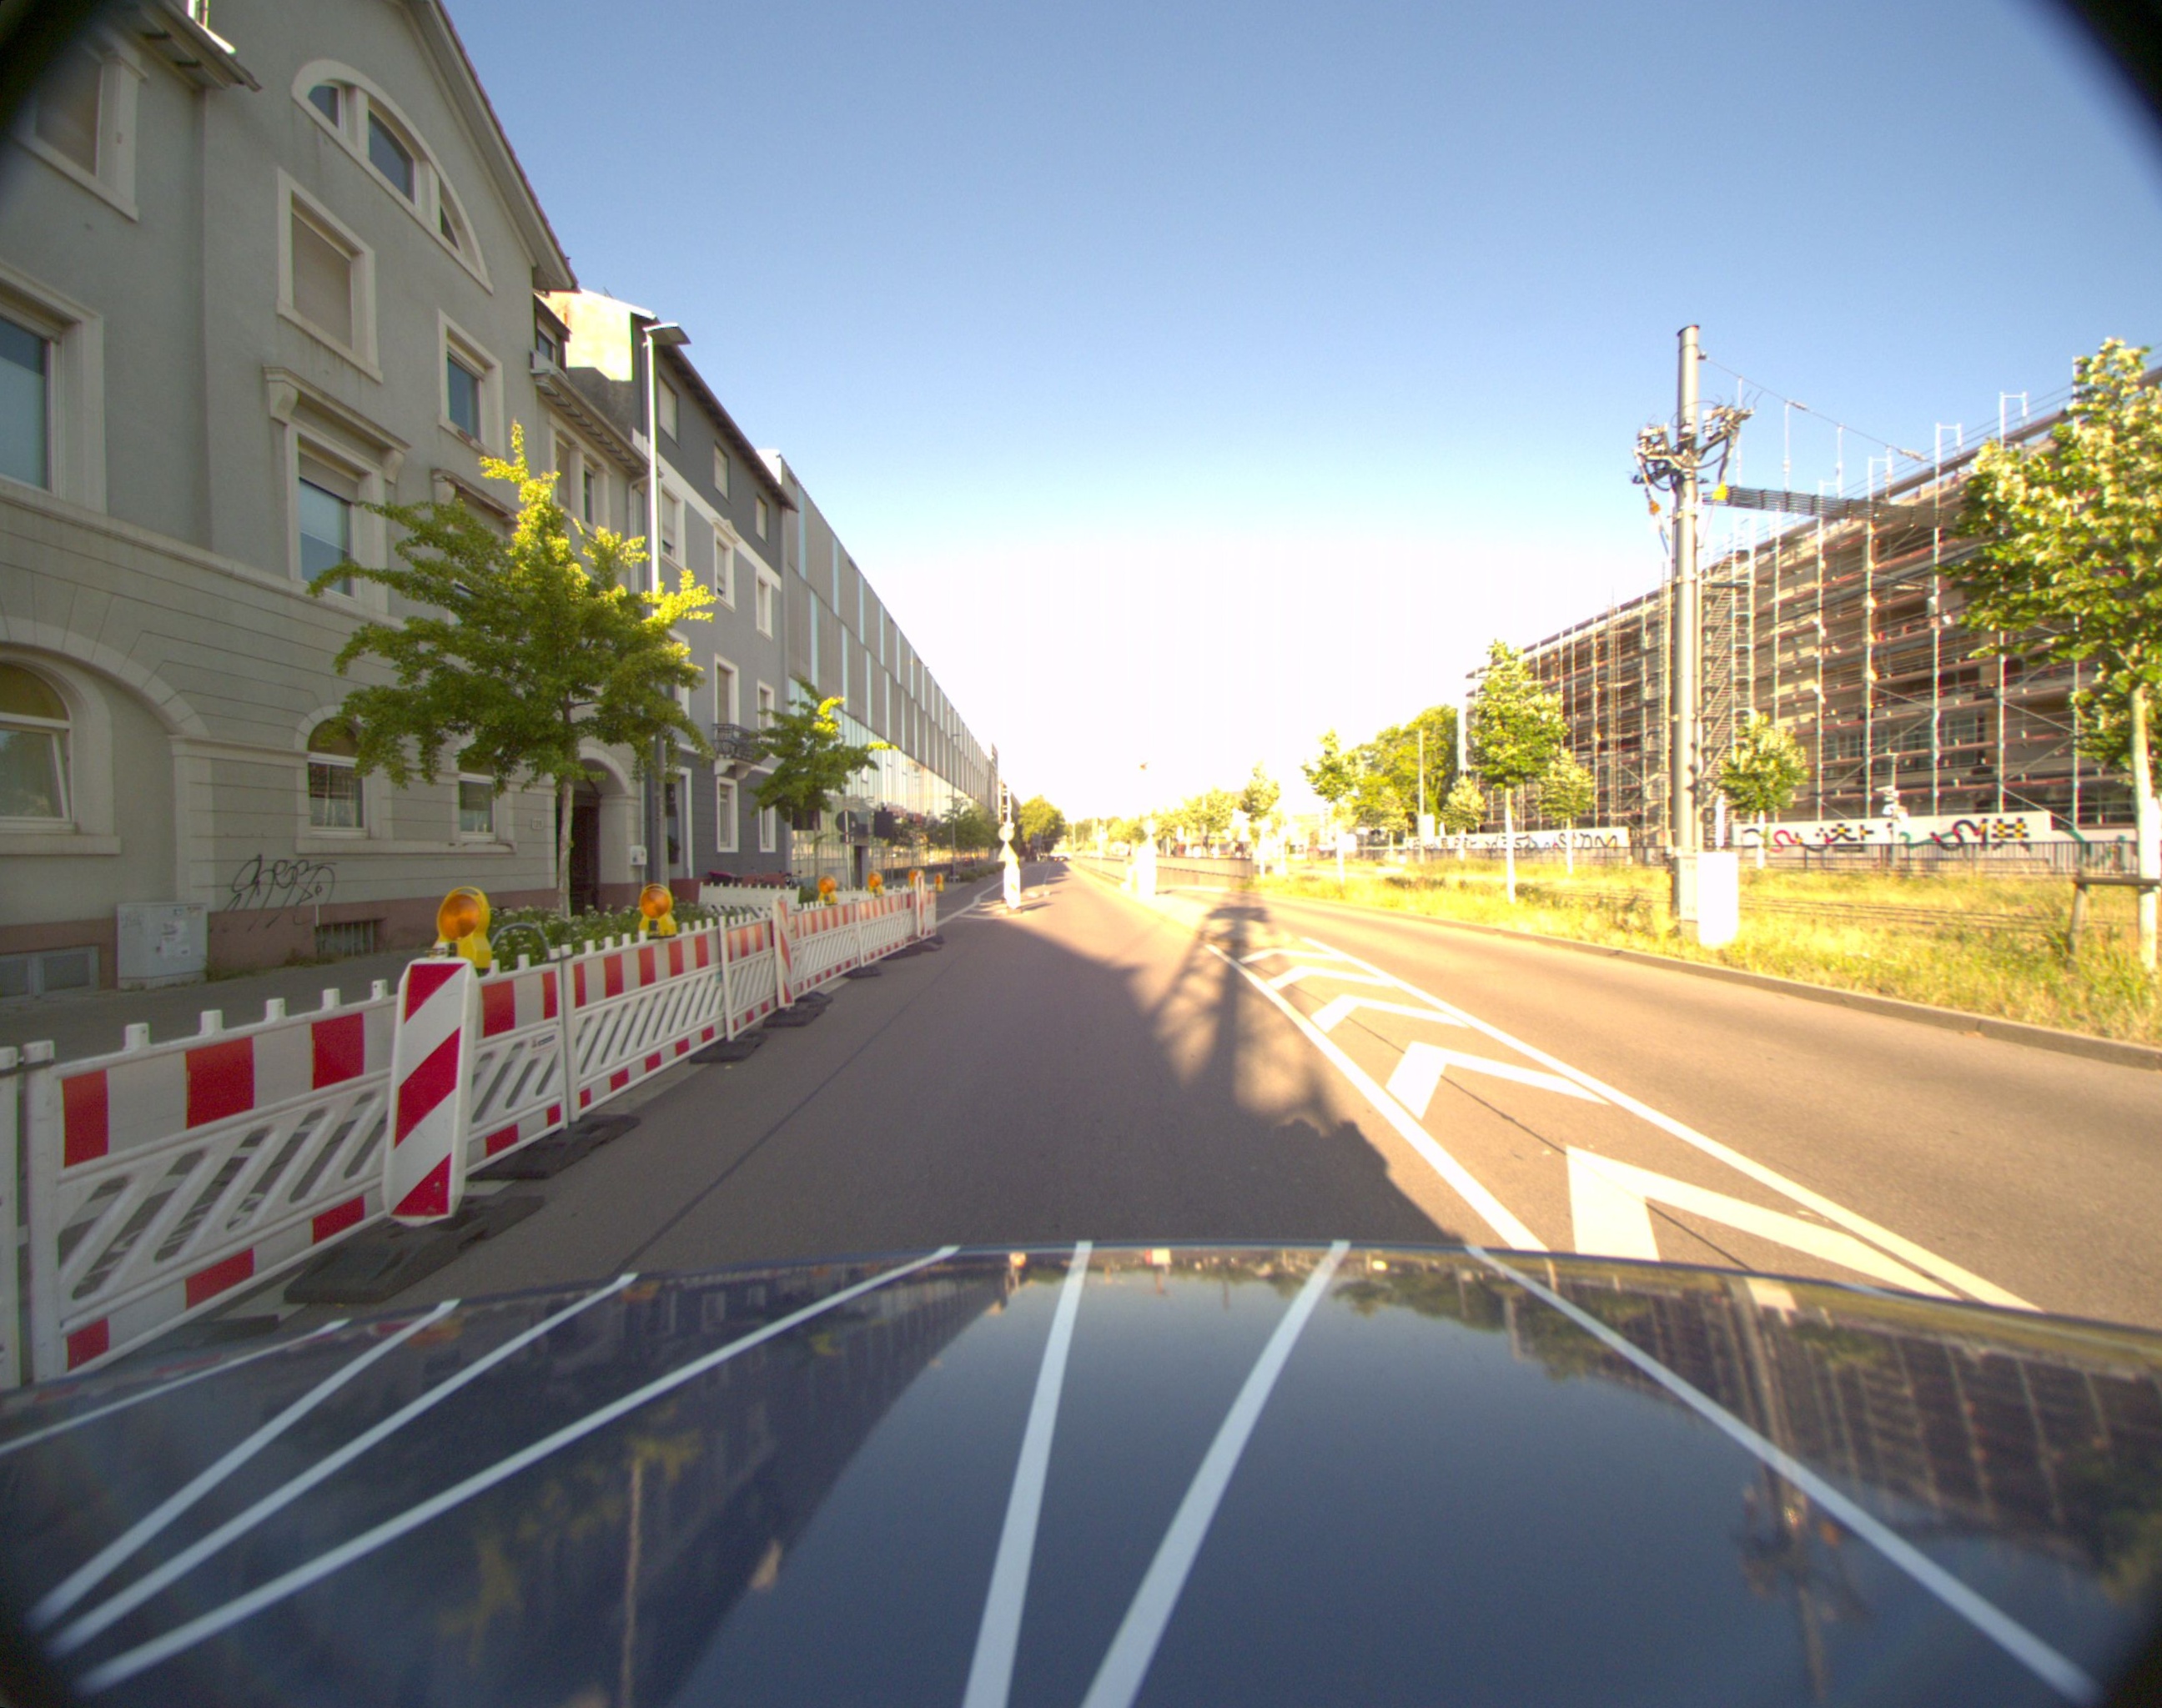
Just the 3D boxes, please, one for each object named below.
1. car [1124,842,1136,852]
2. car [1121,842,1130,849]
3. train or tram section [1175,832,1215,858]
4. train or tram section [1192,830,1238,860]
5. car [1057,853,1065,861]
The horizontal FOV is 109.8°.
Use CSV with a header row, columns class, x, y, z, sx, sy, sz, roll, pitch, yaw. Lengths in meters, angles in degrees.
class,x,y,z,sx,sy,sz,roll,pitch,yaw
car,8.945,-1.323,139.885,1.998,1.740,3.999,-2,1,1
car,10.558,-1.998,180.940,1.998,1.740,3.999,-2,1,1
train or tram section,16.039,-1.302,107.913,2.954,3.378,14.761,-2,1,-2
train or tram section,16.412,-1.112,94.177,2.954,3.378,12.630,-2,1,-2
car,-4.998,0.782,187.259,1.941,2.002,3.825,-1,0,-3
